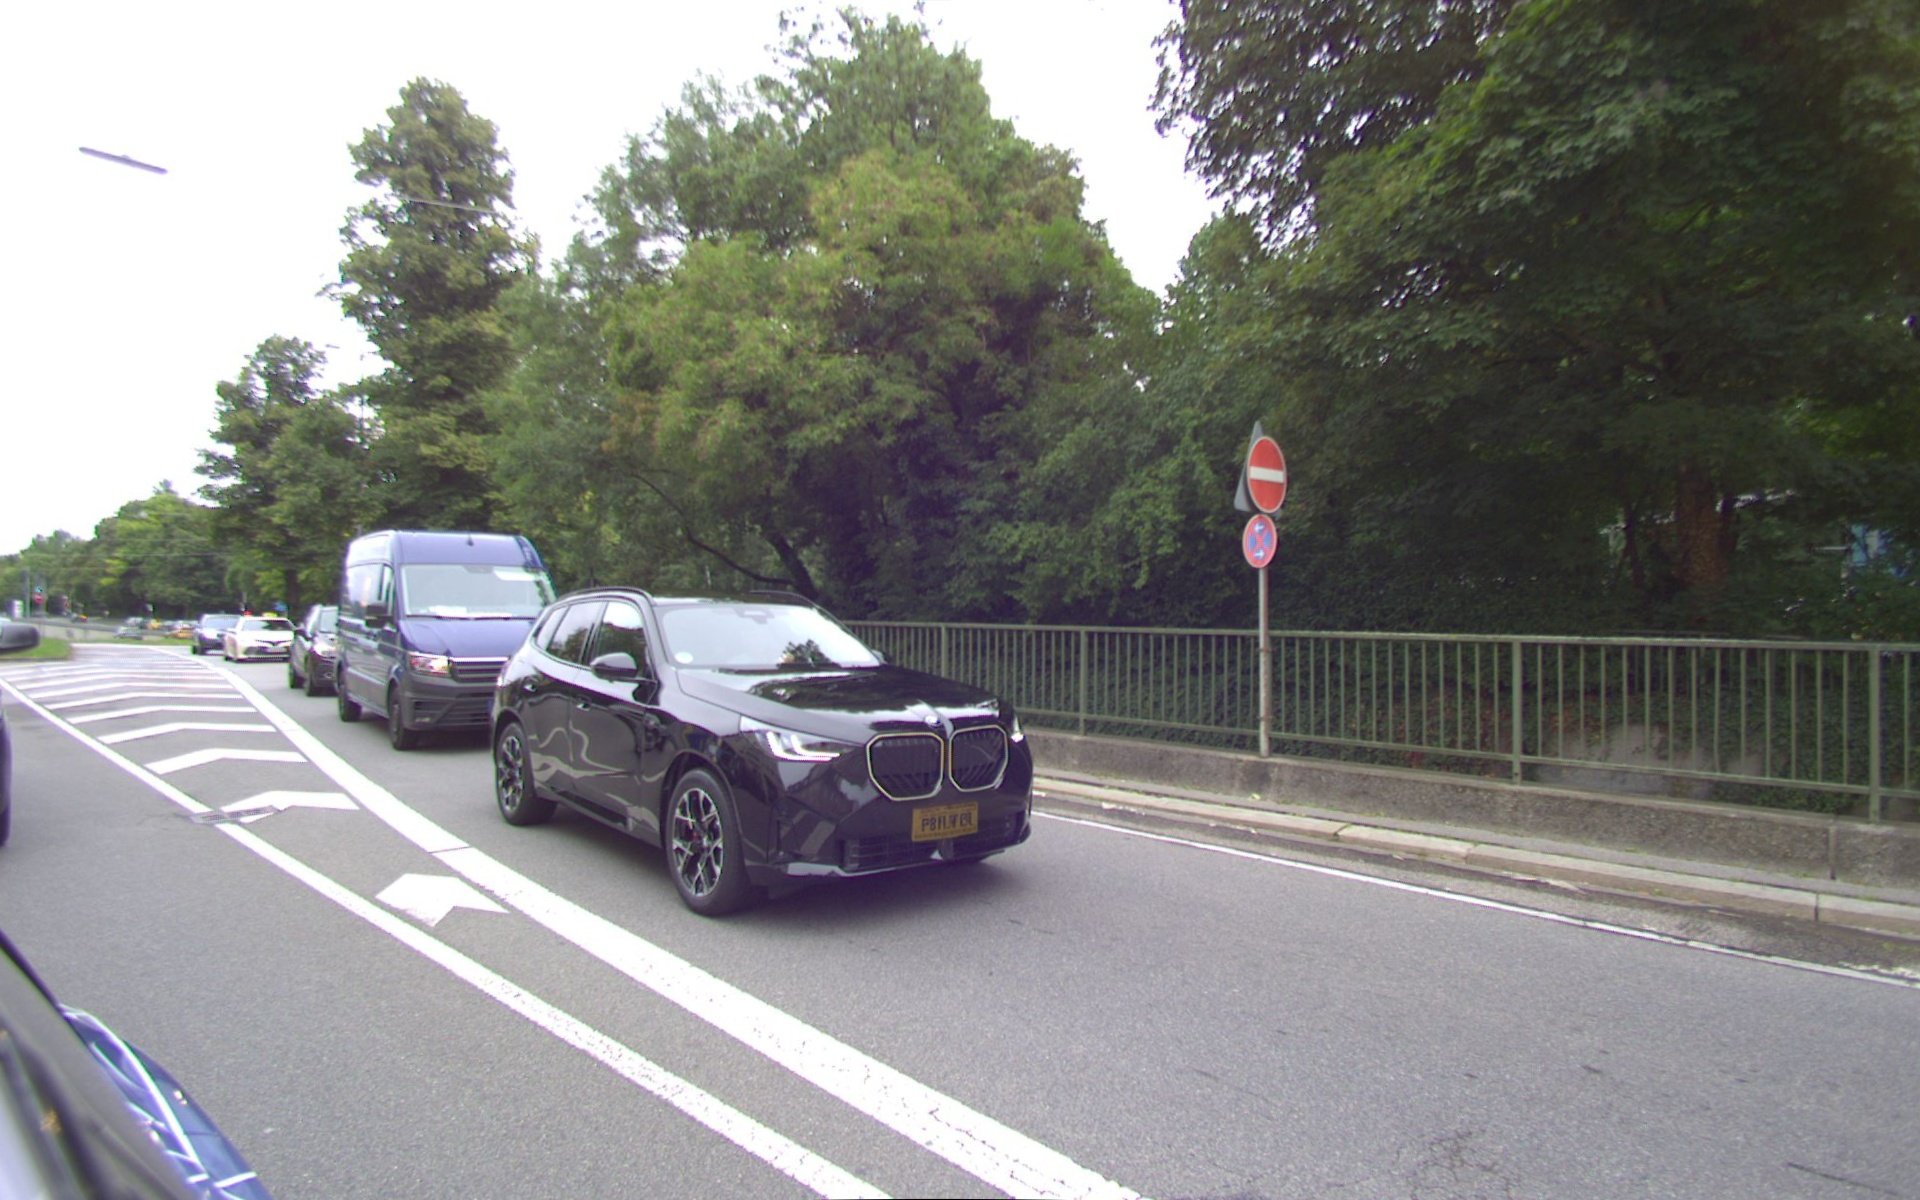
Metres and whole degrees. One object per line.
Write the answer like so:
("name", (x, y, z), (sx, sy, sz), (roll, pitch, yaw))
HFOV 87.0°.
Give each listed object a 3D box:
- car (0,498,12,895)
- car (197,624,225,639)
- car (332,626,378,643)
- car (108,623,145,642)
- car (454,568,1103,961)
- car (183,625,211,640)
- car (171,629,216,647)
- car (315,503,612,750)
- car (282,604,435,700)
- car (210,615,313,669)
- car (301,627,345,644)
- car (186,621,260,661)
("car", (-7.648, 0.530, 6.565), (4.553, 2.227, 1.832), (0, -1, 43))
("car", (-85.842, 3.605, 115.975), (3.998, 1.759, 1.860), (-1, -2, 41))
("car", (-52.790, 3.001, 88.297), (4.519, 1.457, 1.974), (-1, -3, 38))
("car", (-83.801, 3.258, 101.718), (4.519, 1.765, 1.975), (-1, -1, 38))
("car", (-1.549, 0.693, 6.571), (1.890, 1.598, 4.836), (1, -1, -42))
("car", (-90.847, 3.856, 120.448), (3.998, 1.759, 1.842), (-1, -2, 41))
("car", (-66.608, 3.289, 87.905), (4.519, 1.457, 1.974), (-1, -3, 38))
("car", (-6.657, 0.293, 13.102), (2.156, 2.482, 5.862), (1, -1, -39))
("car", (-11.791, 0.951, 19.698), (1.962, 1.640, 4.281), (1, -2, -39))
("car", (-22.343, 1.299, 32.288), (1.964, 1.577, 4.658), (2, -2, -44))
("car", (-58.534, 3.265, 92.976), (4.700, 1.546, 1.974), (-1, -3, 38))
("car", (-30.281, 1.654, 41.559), (1.963, 1.577, 4.278), (2, -2, -43))
